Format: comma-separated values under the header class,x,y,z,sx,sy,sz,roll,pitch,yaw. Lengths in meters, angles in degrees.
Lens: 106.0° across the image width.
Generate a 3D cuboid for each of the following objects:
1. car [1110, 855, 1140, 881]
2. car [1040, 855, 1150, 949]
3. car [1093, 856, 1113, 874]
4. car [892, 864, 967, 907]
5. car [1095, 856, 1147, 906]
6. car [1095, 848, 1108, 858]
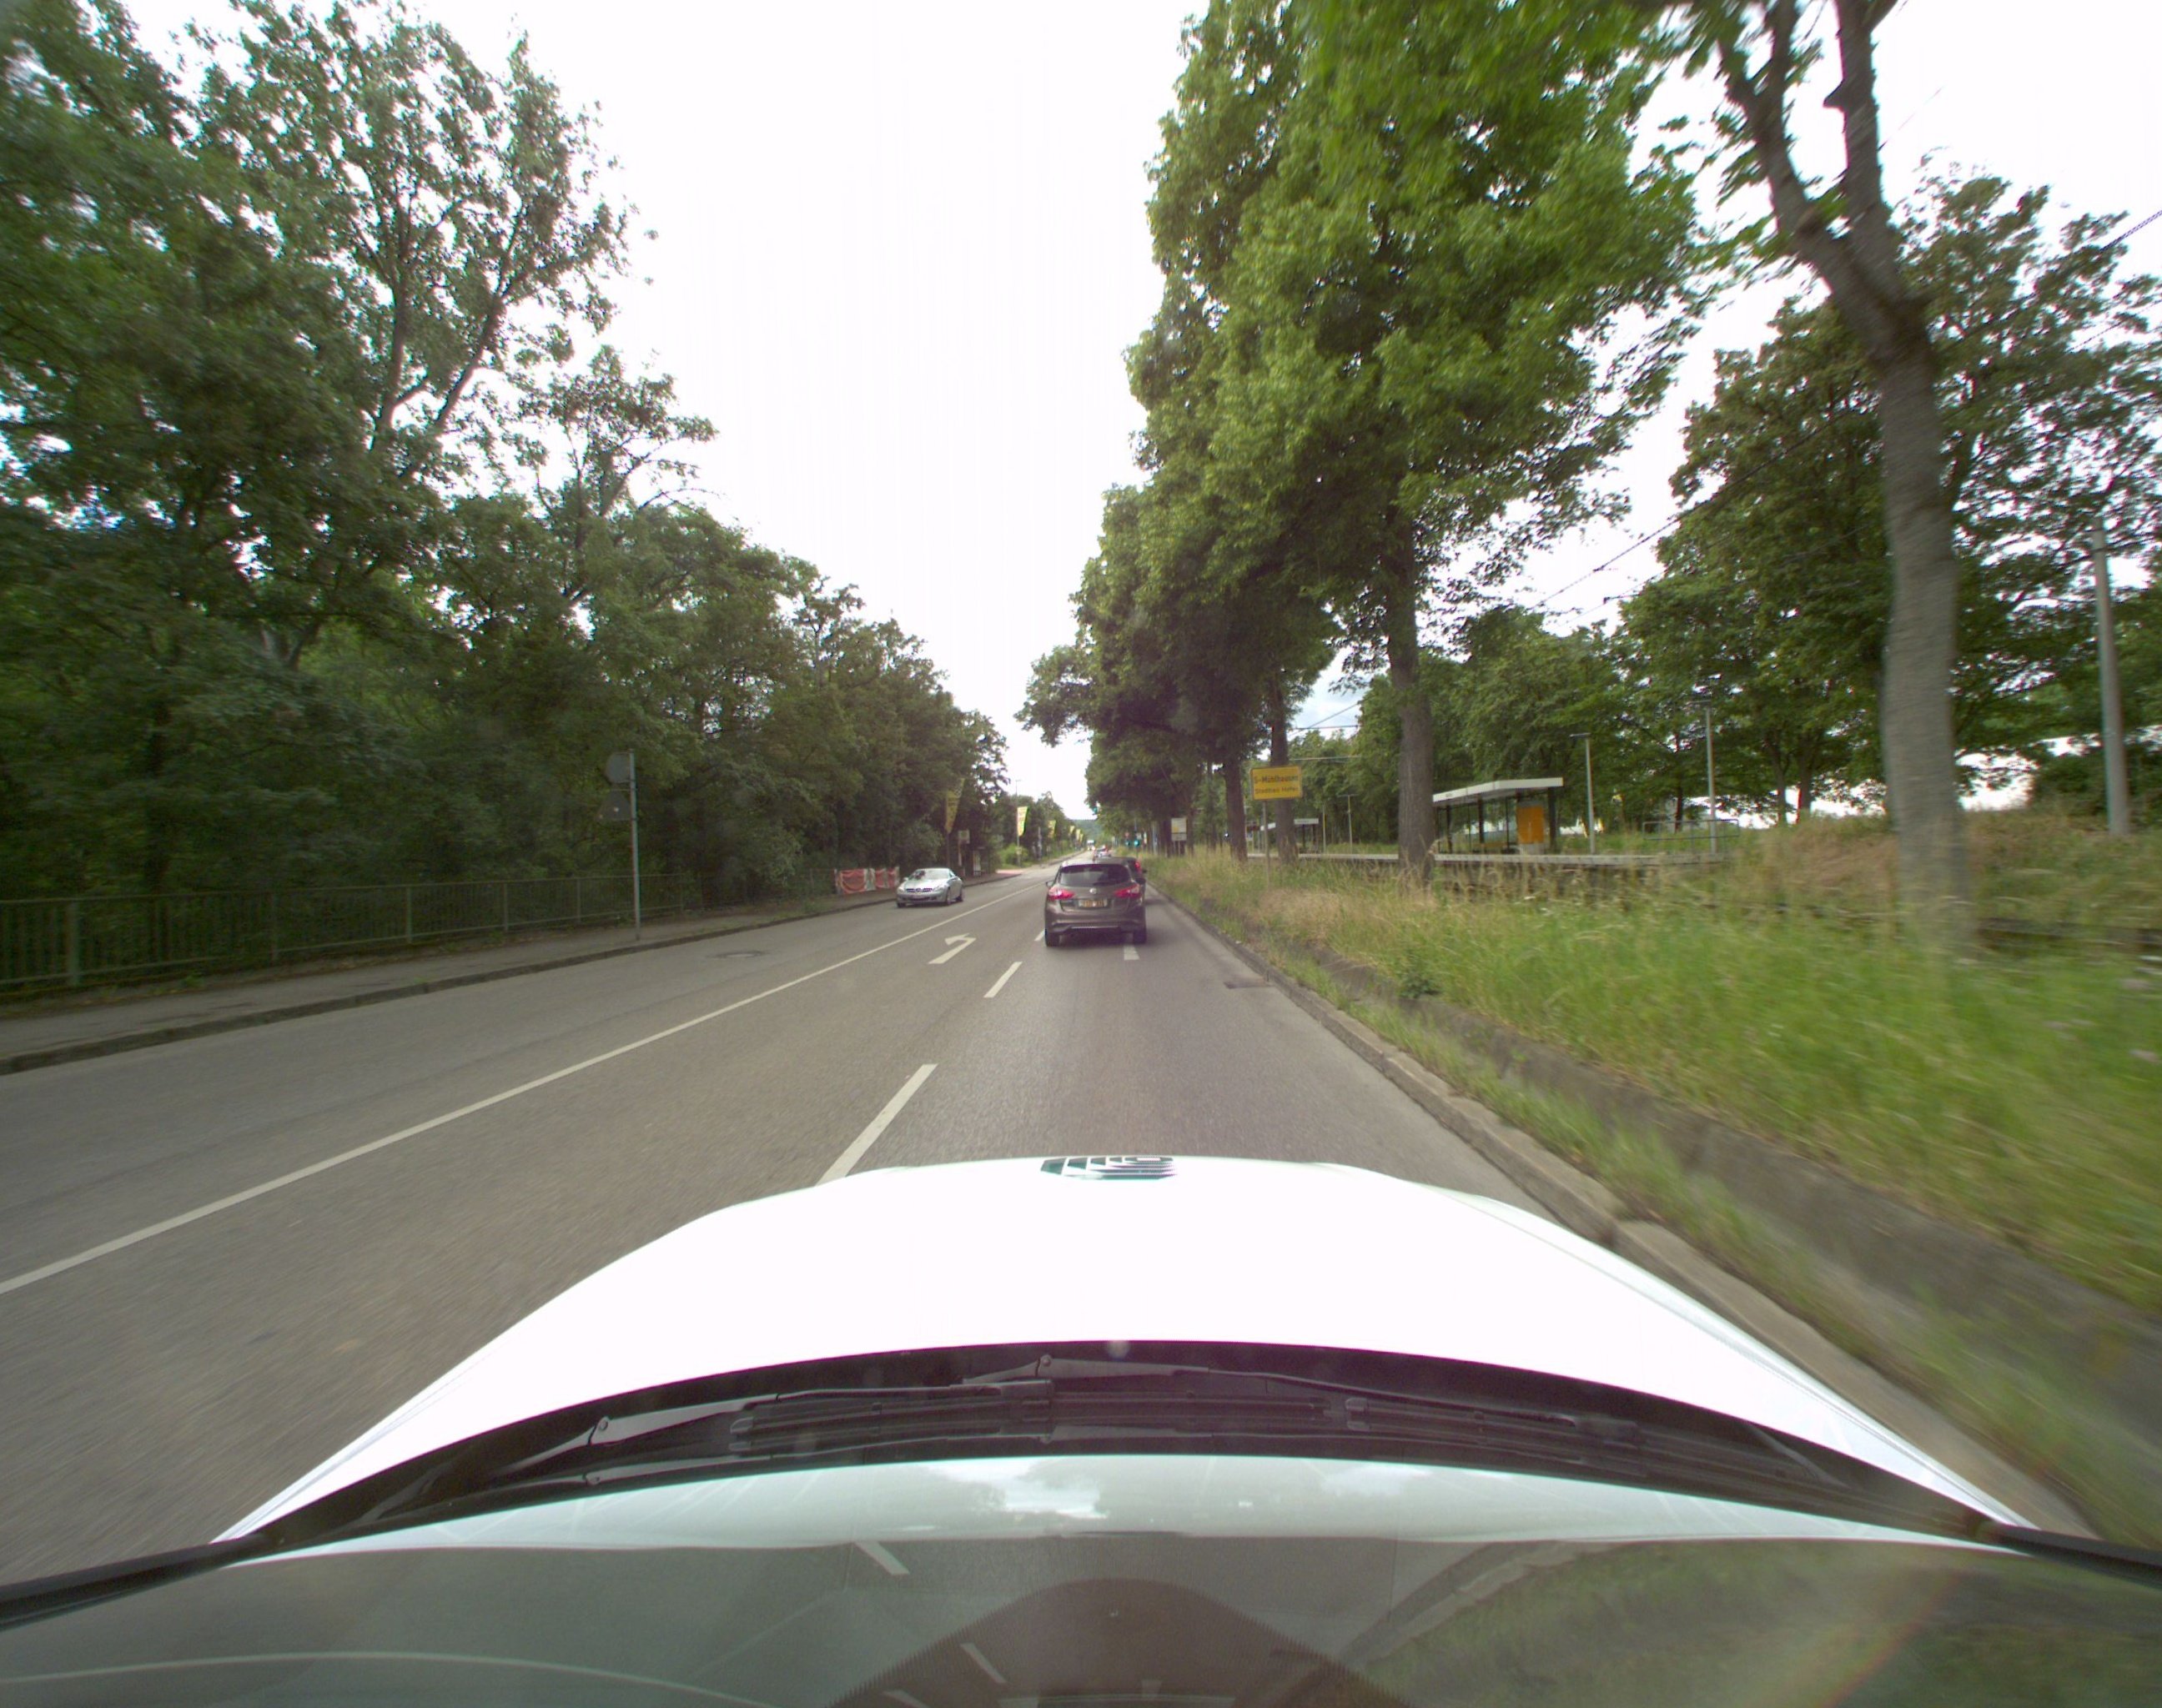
class,x,y,z,sx,sy,sz,roll,pitch,yaw
car,2.562,0.799,48.053,1.685,1.441,3.543,-2,0,2
car,0.301,0.801,15.358,1.776,1.507,3.698,-2,0,2
car,1.950,0.955,72.712,1.685,1.441,3.543,-2,0,2
car,-5.207,1.055,28.417,1.751,1.337,3.698,-2,0,2
car,1.238,0.808,26.030,1.496,1.441,3.543,-2,0,2
car,3.254,-0.138,128.372,1.986,1.574,4.001,0,-1,2
